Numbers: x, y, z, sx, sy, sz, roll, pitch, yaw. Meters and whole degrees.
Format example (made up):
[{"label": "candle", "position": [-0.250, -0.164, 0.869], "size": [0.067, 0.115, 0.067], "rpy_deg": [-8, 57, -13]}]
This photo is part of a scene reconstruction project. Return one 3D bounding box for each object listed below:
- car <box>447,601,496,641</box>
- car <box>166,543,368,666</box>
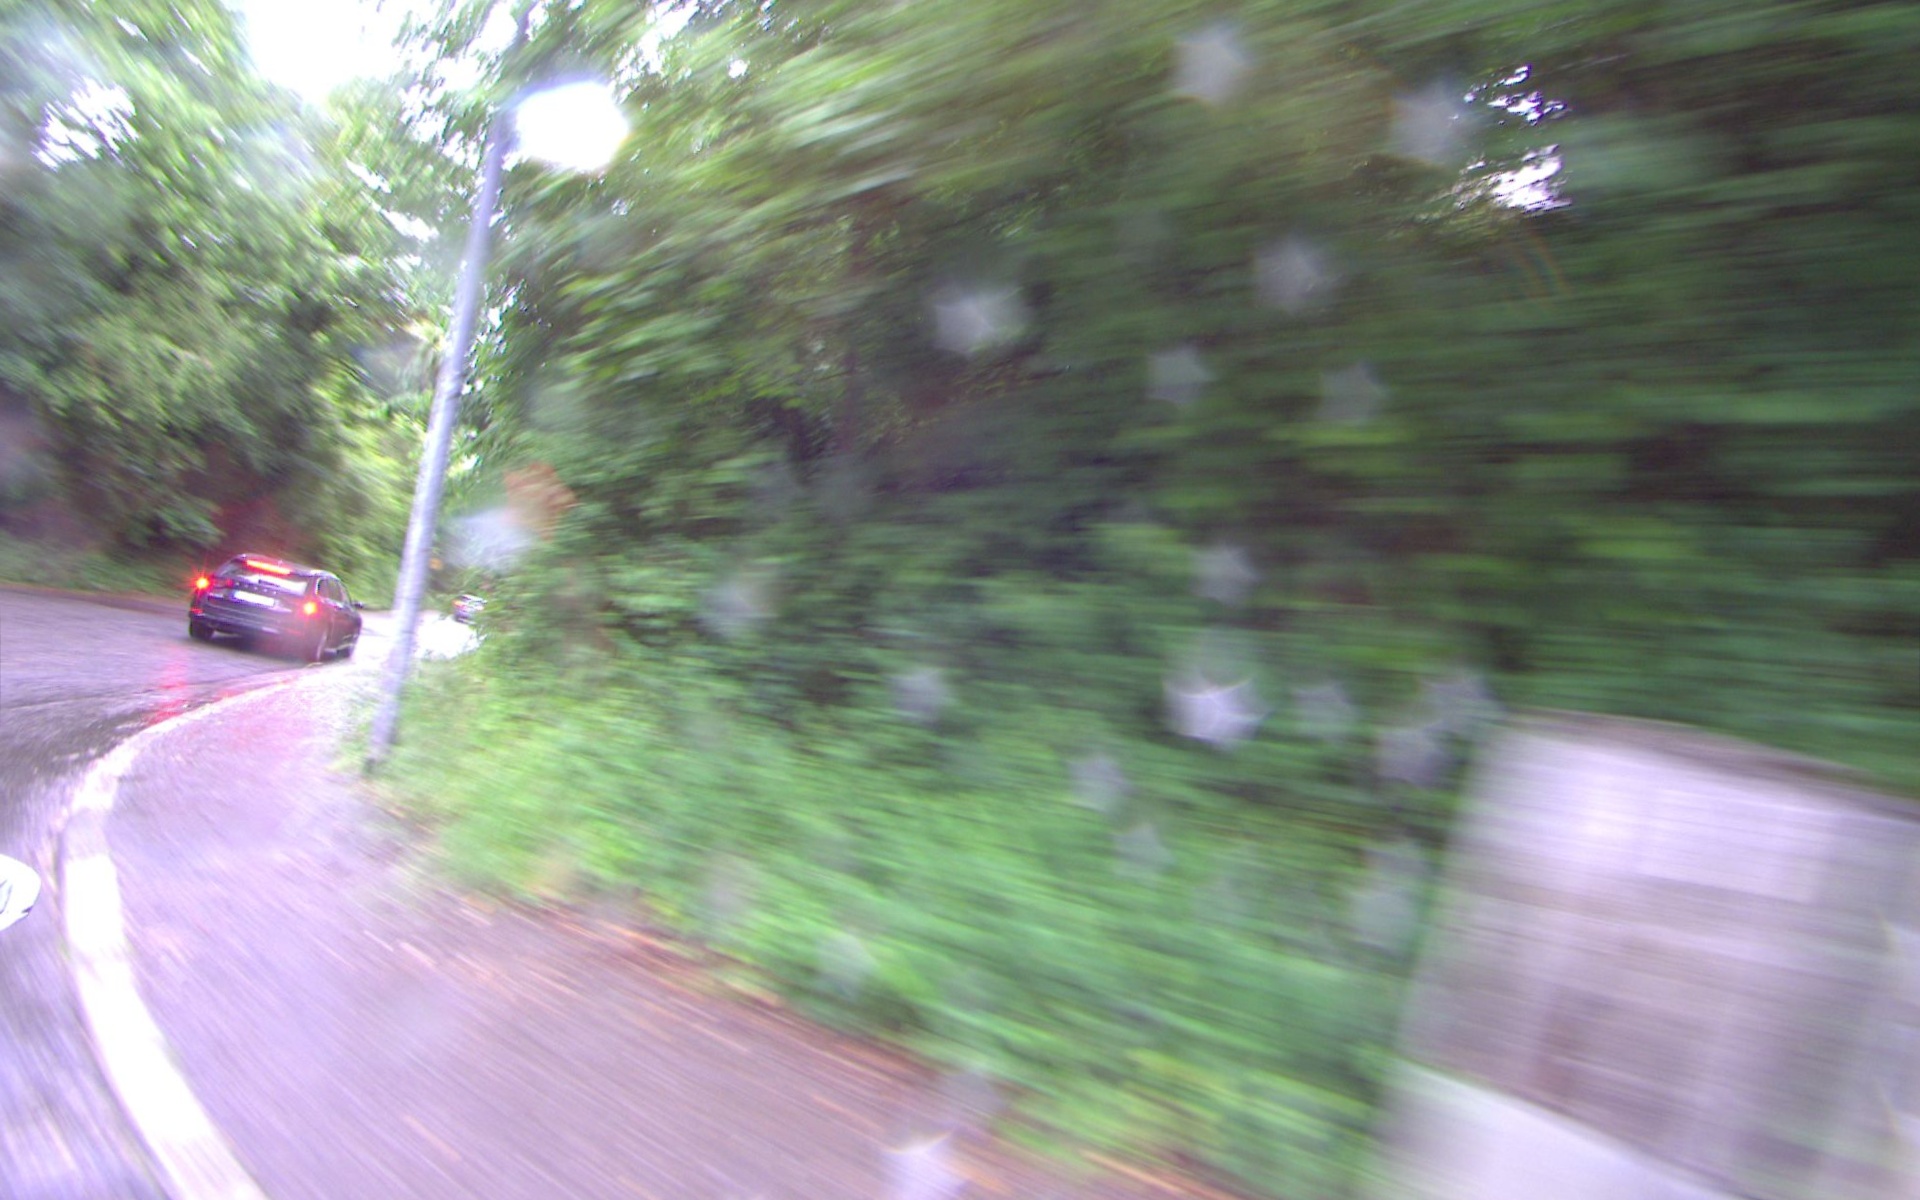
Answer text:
[{"label": "car", "position": [-27.570, 1.184, 56.919], "size": [1.850, 1.757, 3.985], "rpy_deg": [16, -7, -21]}, {"label": "car", "position": [-11.334, -0.009, 16.773], "size": [1.686, 1.465, 3.979], "rpy_deg": [14, -2, -22]}]
